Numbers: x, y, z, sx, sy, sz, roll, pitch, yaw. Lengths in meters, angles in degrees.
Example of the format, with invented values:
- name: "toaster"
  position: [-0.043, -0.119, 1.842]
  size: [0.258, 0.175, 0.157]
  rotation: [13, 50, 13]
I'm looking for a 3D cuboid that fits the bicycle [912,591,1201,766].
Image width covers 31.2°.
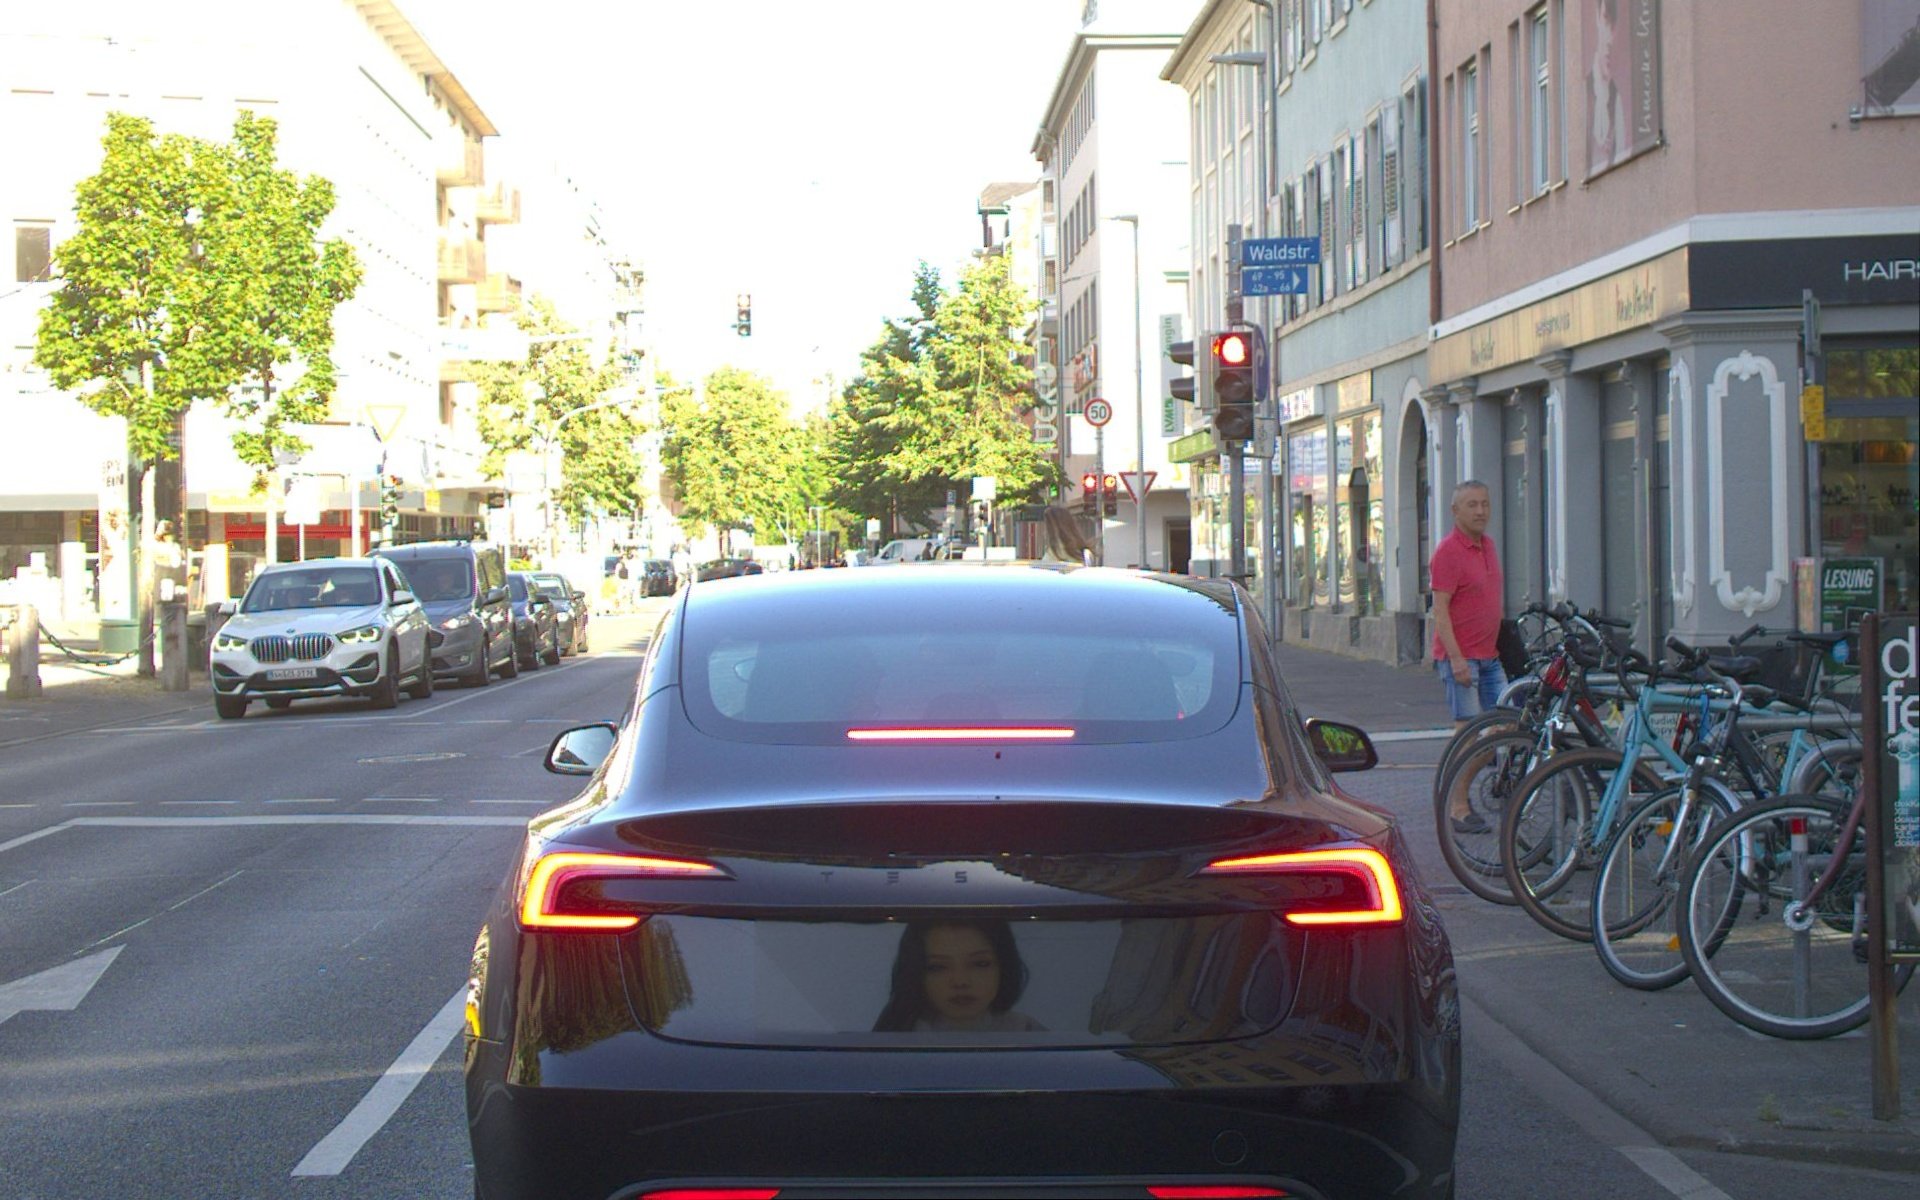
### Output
- name: "bicycle"
  position: [0.687, 0.551, 24.296]
  size: [1.954, 1.154, 0.575]
  rotation: [-2, 0, 7]

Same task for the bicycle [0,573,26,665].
- name: "bicycle"
  position: [-14.483, 0.239, 47.556]
  size: [2.875, 1.266, 0.943]
  rotation: [1, 0, -3]

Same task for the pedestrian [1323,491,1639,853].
- name: "pedestrian"
  position: [2.579, 0.334, 17.030]
  size: [1.059, 1.714, 1.112]
  rotation: [0, 1, -45]

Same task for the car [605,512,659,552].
- name: "car"
  position: [-17.121, -3.531, 179.652]
  size: [2.275, 2.007, 4.717]
  rotation: [1, 1, 1]

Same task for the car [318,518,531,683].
- name: "car"
  position: [-6.569, -0.032, 42.673]
  size: [1.945, 1.940, 4.820]
  rotation: [0, 1, -1]

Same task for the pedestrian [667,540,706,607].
- name: "pedestrian"
  position: [-7.648, -0.739, 96.023]
  size: [0.774, 1.861, 1.009]
  rotation: [1, 0, -23]

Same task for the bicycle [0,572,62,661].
- name: "bicycle"
  position: [-14.485, 0.221, 49.875]
  size: [2.662, 1.255, 0.943]
  rotation: [1, 0, -3]

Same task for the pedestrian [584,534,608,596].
- name: "pedestrian"
  position: [-10.992, -1.070, 103.888]
  size: [0.695, 1.861, 0.659]
  rotation: [1, 0, -5]

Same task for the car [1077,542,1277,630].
- name: "car"
  position: [4.712, -0.321, 74.685]
  size: [3.992, 1.861, 1.698]
  rotation: [0, 1, -21]

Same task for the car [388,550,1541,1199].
- name: "car"
  position: [-0.020, 0.630, 7.784]
  size: [1.850, 1.442, 4.452]
  rotation: [1, 1, -1]

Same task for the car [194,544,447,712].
- name: "car"
  position: [-6.684, 0.258, 36.350]
  size: [1.825, 1.559, 4.301]
  rotation: [-4, 1, -1]

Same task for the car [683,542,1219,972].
- name: "car"
  position: [-0.056, 0.526, 14.208]
  size: [1.850, 1.476, 4.452]
  rotation: [1, 1, -1]

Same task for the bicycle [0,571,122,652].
- name: "bicycle"
  position: [-14.691, 0.167, 54.575]
  size: [2.542, 1.247, 0.943]
  rotation: [1, 0, -3]

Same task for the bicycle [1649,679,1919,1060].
- name: "bicycle"
  position: [3.030, 0.761, 10.060]
  size: [1.882, 1.040, 0.653]
  rotation: [-1, 1, 1]

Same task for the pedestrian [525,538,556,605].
- name: "pedestrian"
  position: [-11.837, -0.808, 97.001]
  size: [0.732, 1.861, 0.791]
  rotation: [1, 0, -17]

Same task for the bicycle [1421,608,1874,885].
- name: "bicycle"
  position: [2.926, 0.614, 14.746]
  size: [1.813, 1.148, 0.653]
  rotation: [0, 1, 1]

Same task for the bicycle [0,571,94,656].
- name: "bicycle"
  position: [-14.530, 0.194, 52.150]
  size: [2.542, 1.247, 0.943]
  rotation: [1, 0, -3]

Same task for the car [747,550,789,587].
- name: "car"
  position: [-10.438, -1.737, 187.144]
  size: [2.132, 1.963, 4.134]
  rotation: [0, 1, -1]

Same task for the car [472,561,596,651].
- name: "car"
  position: [-7.026, 0.085, 57.047]
  size: [1.693, 1.385, 3.916]
  rotation: [-2, 0, -2]

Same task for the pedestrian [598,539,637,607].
- name: "pedestrian"
  position: [-9.410, -0.749, 94.515]
  size: [0.734, 1.861, 0.789]
  rotation: [1, 0, 28]

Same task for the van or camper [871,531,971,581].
- name: "van or camper"
  position: [-1.897, -2.129, 167.558]
  size: [4.850, 2.430, 1.851]
  rotation: [0, 1, -1]

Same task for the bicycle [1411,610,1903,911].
- name: "bicycle"
  position: [2.735, 0.622, 13.612]
  size: [1.813, 1.148, 0.653]
  rotation: [0, 1, 1]

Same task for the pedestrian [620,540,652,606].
- name: "pedestrian"
  position: [-9.251, -0.783, 98.112]
  size: [0.694, 1.861, 0.910]
  rotation: [1, 0, -18]

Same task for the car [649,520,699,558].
- name: "car"
  position: [-15.645, -3.351, 188.291]
  size: [2.275, 2.007, 4.717]
  rotation: [1, 1, 1]

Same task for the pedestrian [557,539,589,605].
- name: "pedestrian"
  position: [-10.926, -0.796, 97.076]
  size: [0.732, 1.861, 0.791]
  rotation: [1, 0, -17]

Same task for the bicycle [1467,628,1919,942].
- name: "bicycle"
  position: [2.804, 0.658, 12.538]
  size: [1.813, 1.098, 0.653]
  rotation: [0, 1, 1]

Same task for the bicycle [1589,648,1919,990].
- name: "bicycle"
  position: [3.003, 0.694, 11.132]
  size: [1.813, 1.056, 0.653]
  rotation: [0, 1, 1]

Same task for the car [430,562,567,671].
- name: "car"
  position: [-6.651, 0.208, 49.807]
  size: [1.461, 1.425, 3.606]
  rotation: [-4, 1, -1]

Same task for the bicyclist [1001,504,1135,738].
- name: "bicyclist"
  position: [0.767, 0.143, 24.296]
  size: [0.826, 1.609, 0.579]
  rotation: [-2, 1, 8]
